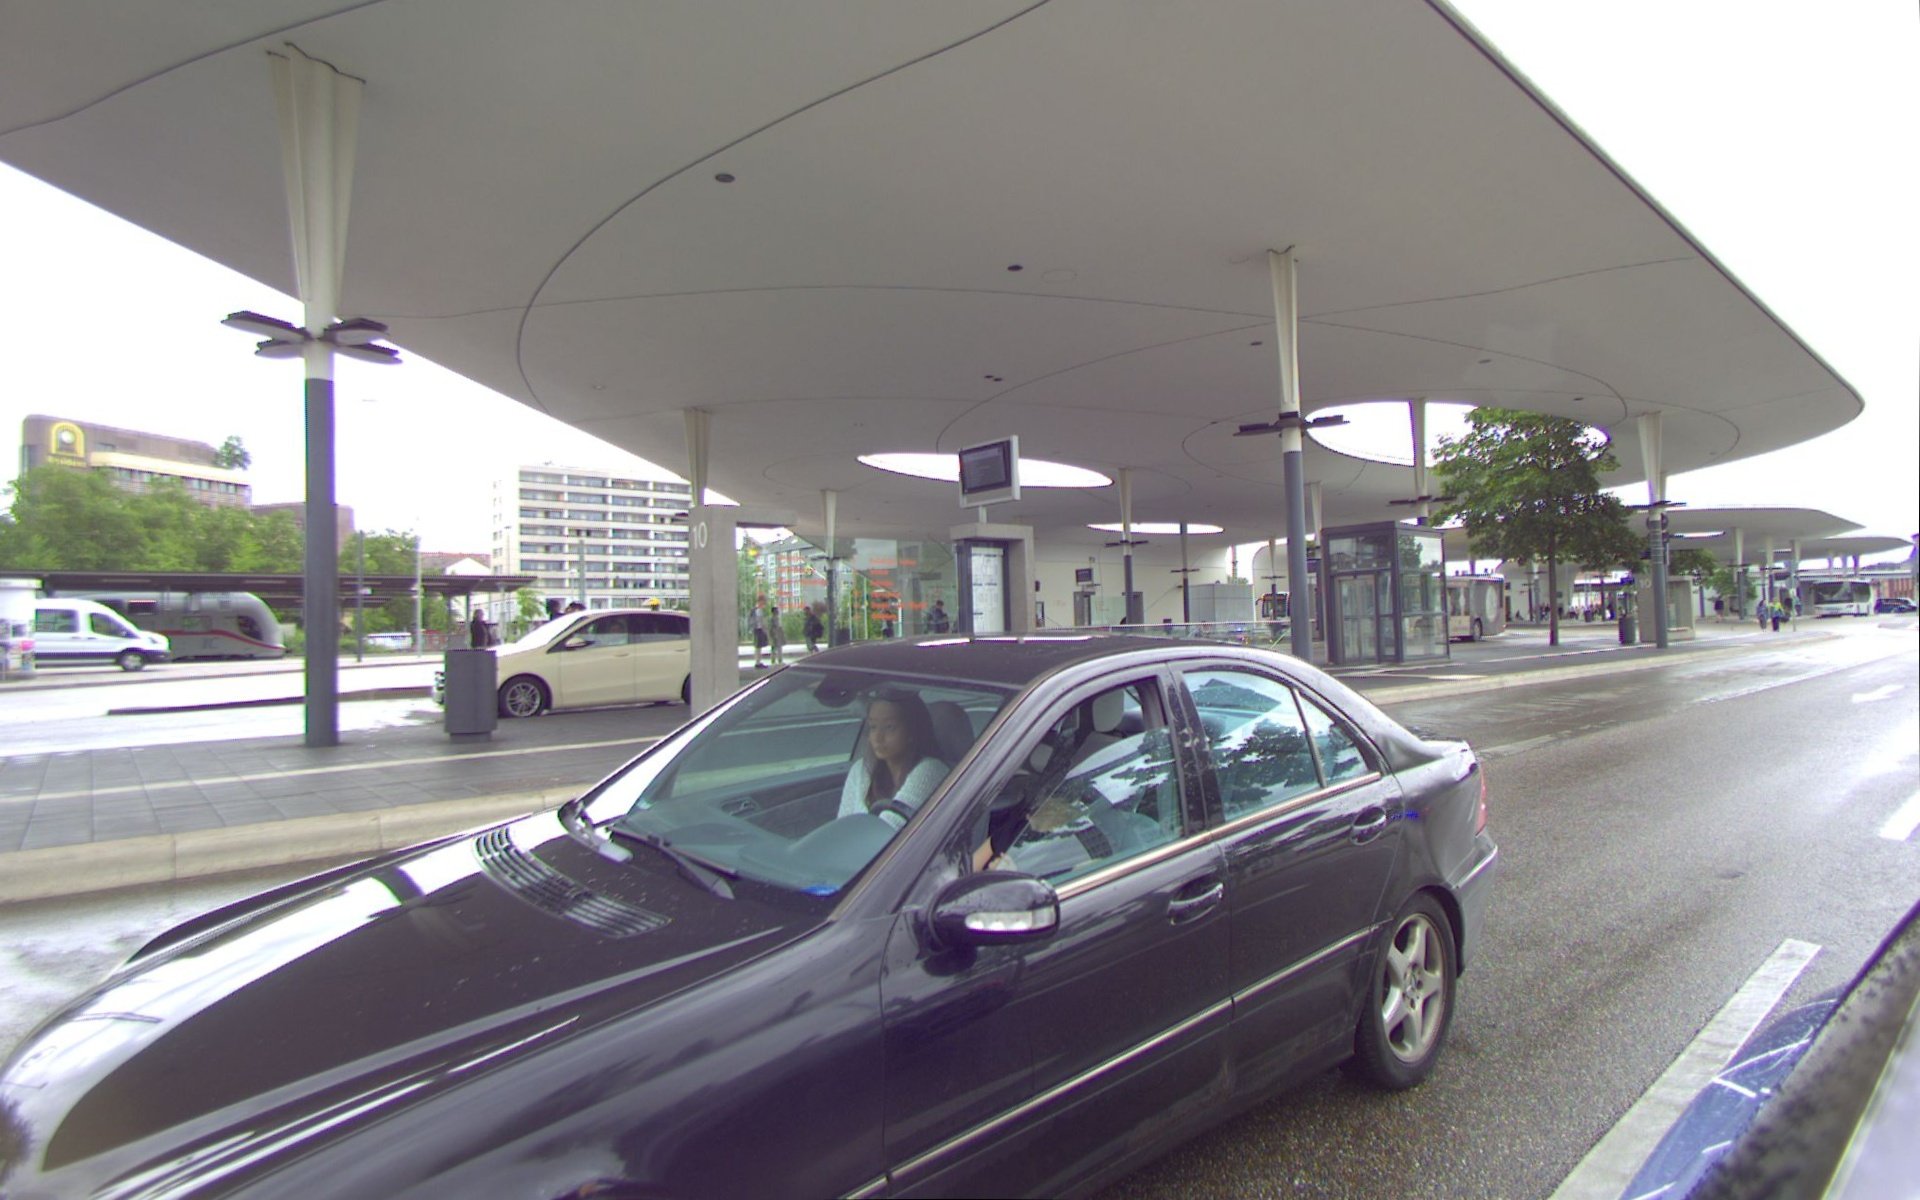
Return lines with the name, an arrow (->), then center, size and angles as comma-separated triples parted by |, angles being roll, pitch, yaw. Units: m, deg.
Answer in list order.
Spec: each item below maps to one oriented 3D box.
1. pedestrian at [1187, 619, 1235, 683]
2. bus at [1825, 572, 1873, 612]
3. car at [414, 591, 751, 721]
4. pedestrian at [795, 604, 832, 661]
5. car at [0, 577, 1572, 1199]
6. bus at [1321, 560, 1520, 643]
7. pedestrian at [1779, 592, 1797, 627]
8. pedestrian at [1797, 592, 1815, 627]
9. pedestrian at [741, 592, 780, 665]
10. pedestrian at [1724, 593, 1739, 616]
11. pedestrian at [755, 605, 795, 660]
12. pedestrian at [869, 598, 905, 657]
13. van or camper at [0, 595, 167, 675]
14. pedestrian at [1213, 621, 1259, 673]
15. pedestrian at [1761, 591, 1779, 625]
pedestrian -> 5.134, 1.024, 20.688 | 0.657, 1.268, 0.692 | 0, -1, -41
bus -> 75.351, -0.666, 85.707 | 2.666, 3.169, 9.565 | -1, -1, 43
car -> -5.527, 0.749, 15.124 | 4.356, 1.671, 1.803 | 0, -3, -41
pedestrian -> -4.330, 0.941, 29.870 | 0.646, 1.654, 0.854 | -1, -1, 43
car -> 0.036, 0.809, 3.055 | 4.359, 1.499, 1.747 | -2, -4, -41
bus -> 20.097, 0.056, 43.559 | 12.139, 3.146, 3.000 | 0, -1, -41
pedestrian -> 39.684, 0.438, 48.478 | 0.543, 1.645, 0.556 | 0, -1, -41
pedestrian -> 40.184, 0.436, 48.090 | 0.543, 1.645, 0.556 | 0, -1, -41
pedestrian -> -4.811, 0.673, 24.370 | 0.680, 1.728, 0.658 | 0, -1, -40
pedestrian -> 55.049, 0.339, 72.213 | 0.740, 1.651, 0.723 | 0, -1, -41
pedestrian -> -5.177, 0.889, 28.256 | 0.732, 1.497, 0.825 | -1, -1, 43
pedestrian -> -1.953, 0.722, 27.058 | 0.680, 1.564, 0.658 | 0, -1, -40
van or camper -> -29.795, 1.103, 33.214 | 5.868, 2.495, 2.106 | 0, -1, -41
pedestrian -> 5.340, 0.903, 19.590 | 0.626, 0.974, 0.622 | 0, -1, -41
pedestrian -> 39.174, 0.381, 48.945 | 0.577, 1.645, 0.576 | 0, -1, -41
